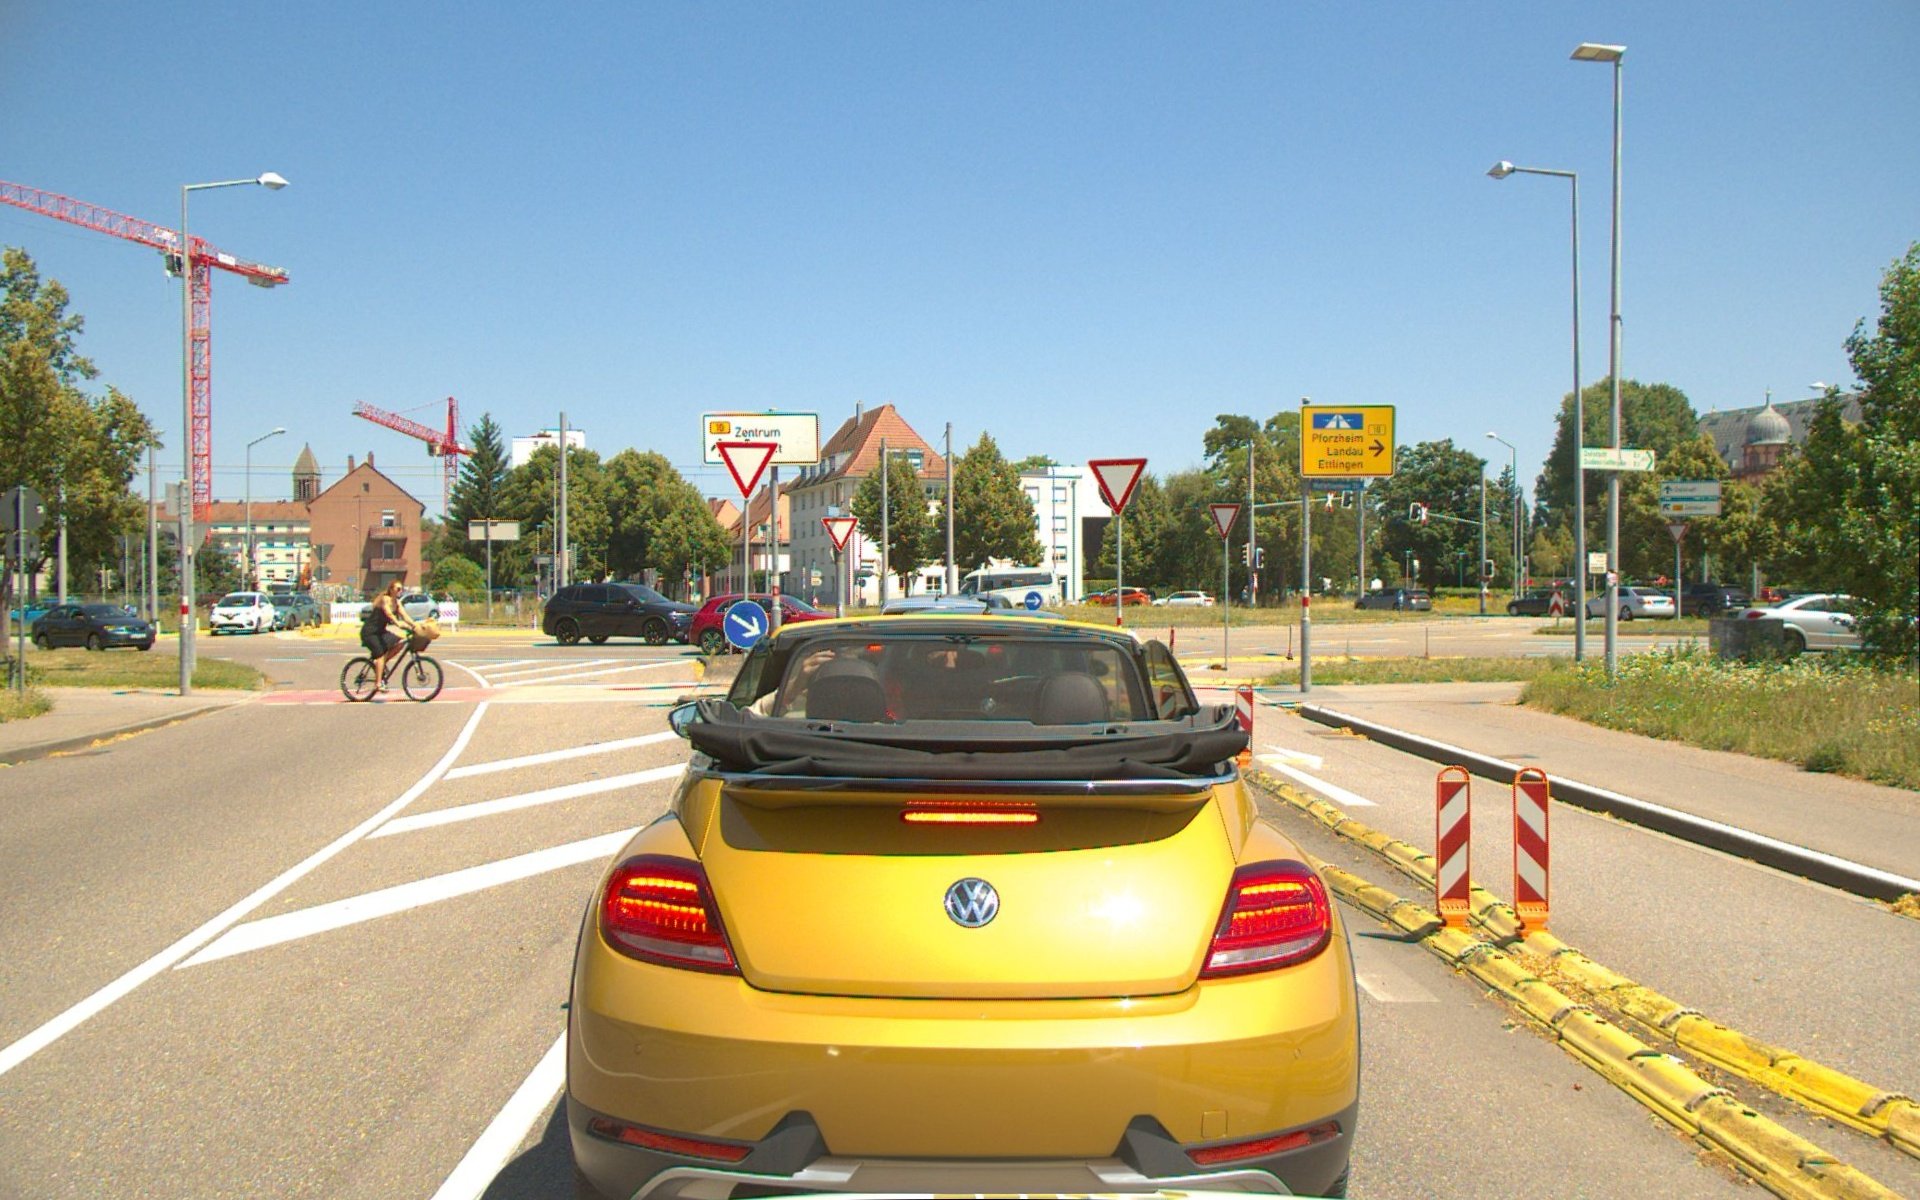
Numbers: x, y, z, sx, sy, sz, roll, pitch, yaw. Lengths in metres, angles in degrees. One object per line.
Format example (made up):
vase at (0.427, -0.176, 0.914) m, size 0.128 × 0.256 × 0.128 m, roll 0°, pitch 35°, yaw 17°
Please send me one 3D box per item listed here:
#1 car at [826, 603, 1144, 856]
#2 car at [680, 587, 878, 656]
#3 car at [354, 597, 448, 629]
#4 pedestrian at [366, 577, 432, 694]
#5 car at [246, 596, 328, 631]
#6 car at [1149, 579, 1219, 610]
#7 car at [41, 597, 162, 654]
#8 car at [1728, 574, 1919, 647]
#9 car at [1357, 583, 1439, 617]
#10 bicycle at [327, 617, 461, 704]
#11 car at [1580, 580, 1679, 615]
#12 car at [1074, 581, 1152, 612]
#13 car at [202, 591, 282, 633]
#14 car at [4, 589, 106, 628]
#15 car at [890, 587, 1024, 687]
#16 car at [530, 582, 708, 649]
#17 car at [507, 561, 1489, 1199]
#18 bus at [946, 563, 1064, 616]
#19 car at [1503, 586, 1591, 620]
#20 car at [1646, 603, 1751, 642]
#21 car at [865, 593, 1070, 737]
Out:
car at (0.115, 0.748, 11.648) m, size 1.814 × 1.389 × 4.257 m, roll -1°, pitch 0°, yaw -1°
car at (-4.336, 0.505, 39.949) m, size 4.311 × 1.554 × 2.002 m, roll 1°, pitch 0°, yaw 11°
car at (-26.373, 0.611, 78.129) m, size 1.693 × 1.427 × 4.267 m, roll 1°, pitch 0°, yaw 26°
pedestrian at (-8.402, 0.527, 24.793) m, size 0.717 × 1.721 × 0.575 m, roll 1°, pitch -1°, yaw 9°
car at (-27.784, 0.545, 68.390) m, size 1.711 × 1.395 × 4.329 m, roll 1°, pitch 0°, yaw -2°
car at (13.775, -0.326, 101.591) m, size 3.906 × 1.803 × 1.786 m, roll 1°, pitch 0°, yaw 23°
car at (-25.729, 0.718, 49.530) m, size 4.263 × 1.579 × 1.719 m, roll 0°, pitch 1°, yaw 40°
car at (19.360, 0.224, 36.305) m, size 4.312 × 1.554 × 2.001 m, roll -1°, pitch 0°, yaw 18°
car at (23.332, 0.008, 88.235) m, size 1.820 × 1.766 × 4.407 m, roll 1°, pitch 0°, yaw -26°
bicycle at (-8.480, 0.903, 24.806) m, size 1.803 × 1.253 × 0.614 m, roll -2°, pitch -1°, yaw 10°
car at (28.741, -0.100, 71.166) m, size 1.717 × 1.395 × 4.313 m, roll 1°, pitch 0°, yaw -15°
car at (9.217, -0.187, 99.466) m, size 4.337 × 1.766 × 1.849 m, roll 1°, pitch 0°, yaw 18°
car at (-27.196, 0.427, 62.775) m, size 1.742 × 1.554 × 3.866 m, roll -1°, pitch 0°, yaw -7°
car at (-43.925, 0.427, 80.343) m, size 3.919 × 1.803 × 1.870 m, roll 1°, pitch 0°, yaw -14°
car at (-0.077, 0.552, 27.514) m, size 2.023 × 1.506 × 4.542 m, roll -1°, pitch 0°, yaw -1°
car at (-9.411, 0.412, 45.732) m, size 4.312 × 1.622 × 2.003 m, roll 0°, pitch 6°, yaw 17°
car at (0.041, 0.708, 5.067) m, size 1.729 × 1.507 × 4.257 m, roll 1°, pitch 0°, yaw -1°
bus at (2.838, -0.681, 104.494) m, size 7.098 × 3.228 × 2.263 m, roll 1°, pitch 0°, yaw 12°
car at (31.789, 0.160, 89.734) m, size 1.823 × 1.766 × 4.400 m, roll 1°, pitch 0°, yaw -30°
car at (33.054, 0.985, 74.172) m, size 1.848 × 1.642 × 4.306 m, roll 1°, pitch 0°, yaw -20°
car at (0.049, 0.659, 18.625) m, size 2.023 × 1.406 × 4.257 m, roll 1°, pitch 0°, yaw -1°
